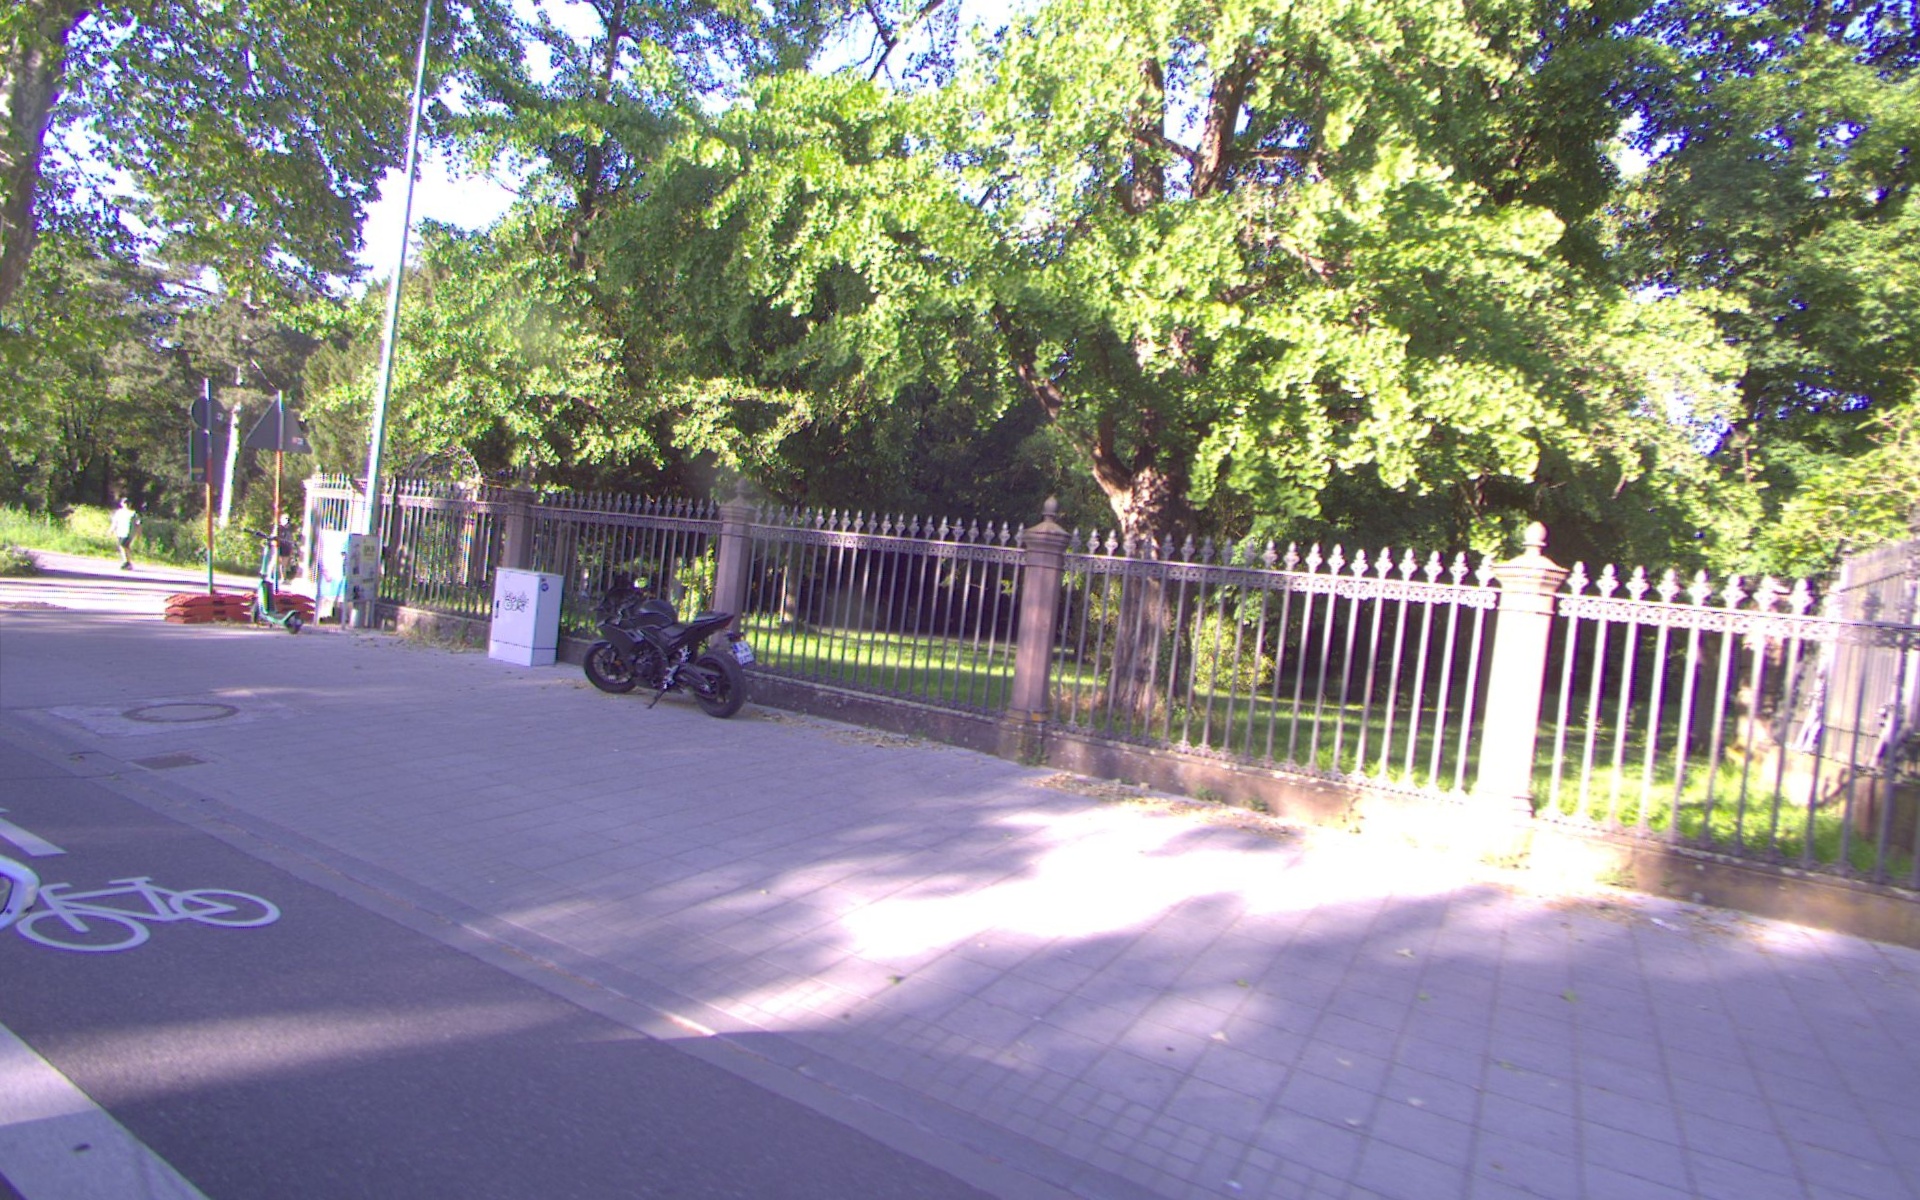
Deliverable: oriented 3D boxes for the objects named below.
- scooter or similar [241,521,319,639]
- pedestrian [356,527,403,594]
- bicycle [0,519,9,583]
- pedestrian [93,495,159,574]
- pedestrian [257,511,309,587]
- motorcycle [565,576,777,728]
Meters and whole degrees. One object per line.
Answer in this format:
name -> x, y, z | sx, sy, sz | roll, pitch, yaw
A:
scooter or similar -> -8.382, -0.254, 12.392 | 1.152, 1.344, 0.228 | 7, 2, 30
pedestrian -> -15.783, -1.080, 27.364 | 0.823, 1.702, 0.685 | 6, 0, -45
bicycle -> -15.545, -0.821, 14.812 | 0.736, 0.988, 2.098 | 7, 1, 19
pedestrian -> -17.690, -1.370, 21.358 | 0.812, 1.536, 0.909 | 7, -1, -32
pedestrian -> -16.183, -1.216, 24.055 | 0.633, 1.720, 0.690 | 6, 0, 31
motorcycle -> -2.740, 0.447, 9.409 | 2.134, 1.146, 0.506 | 6, 2, 30
